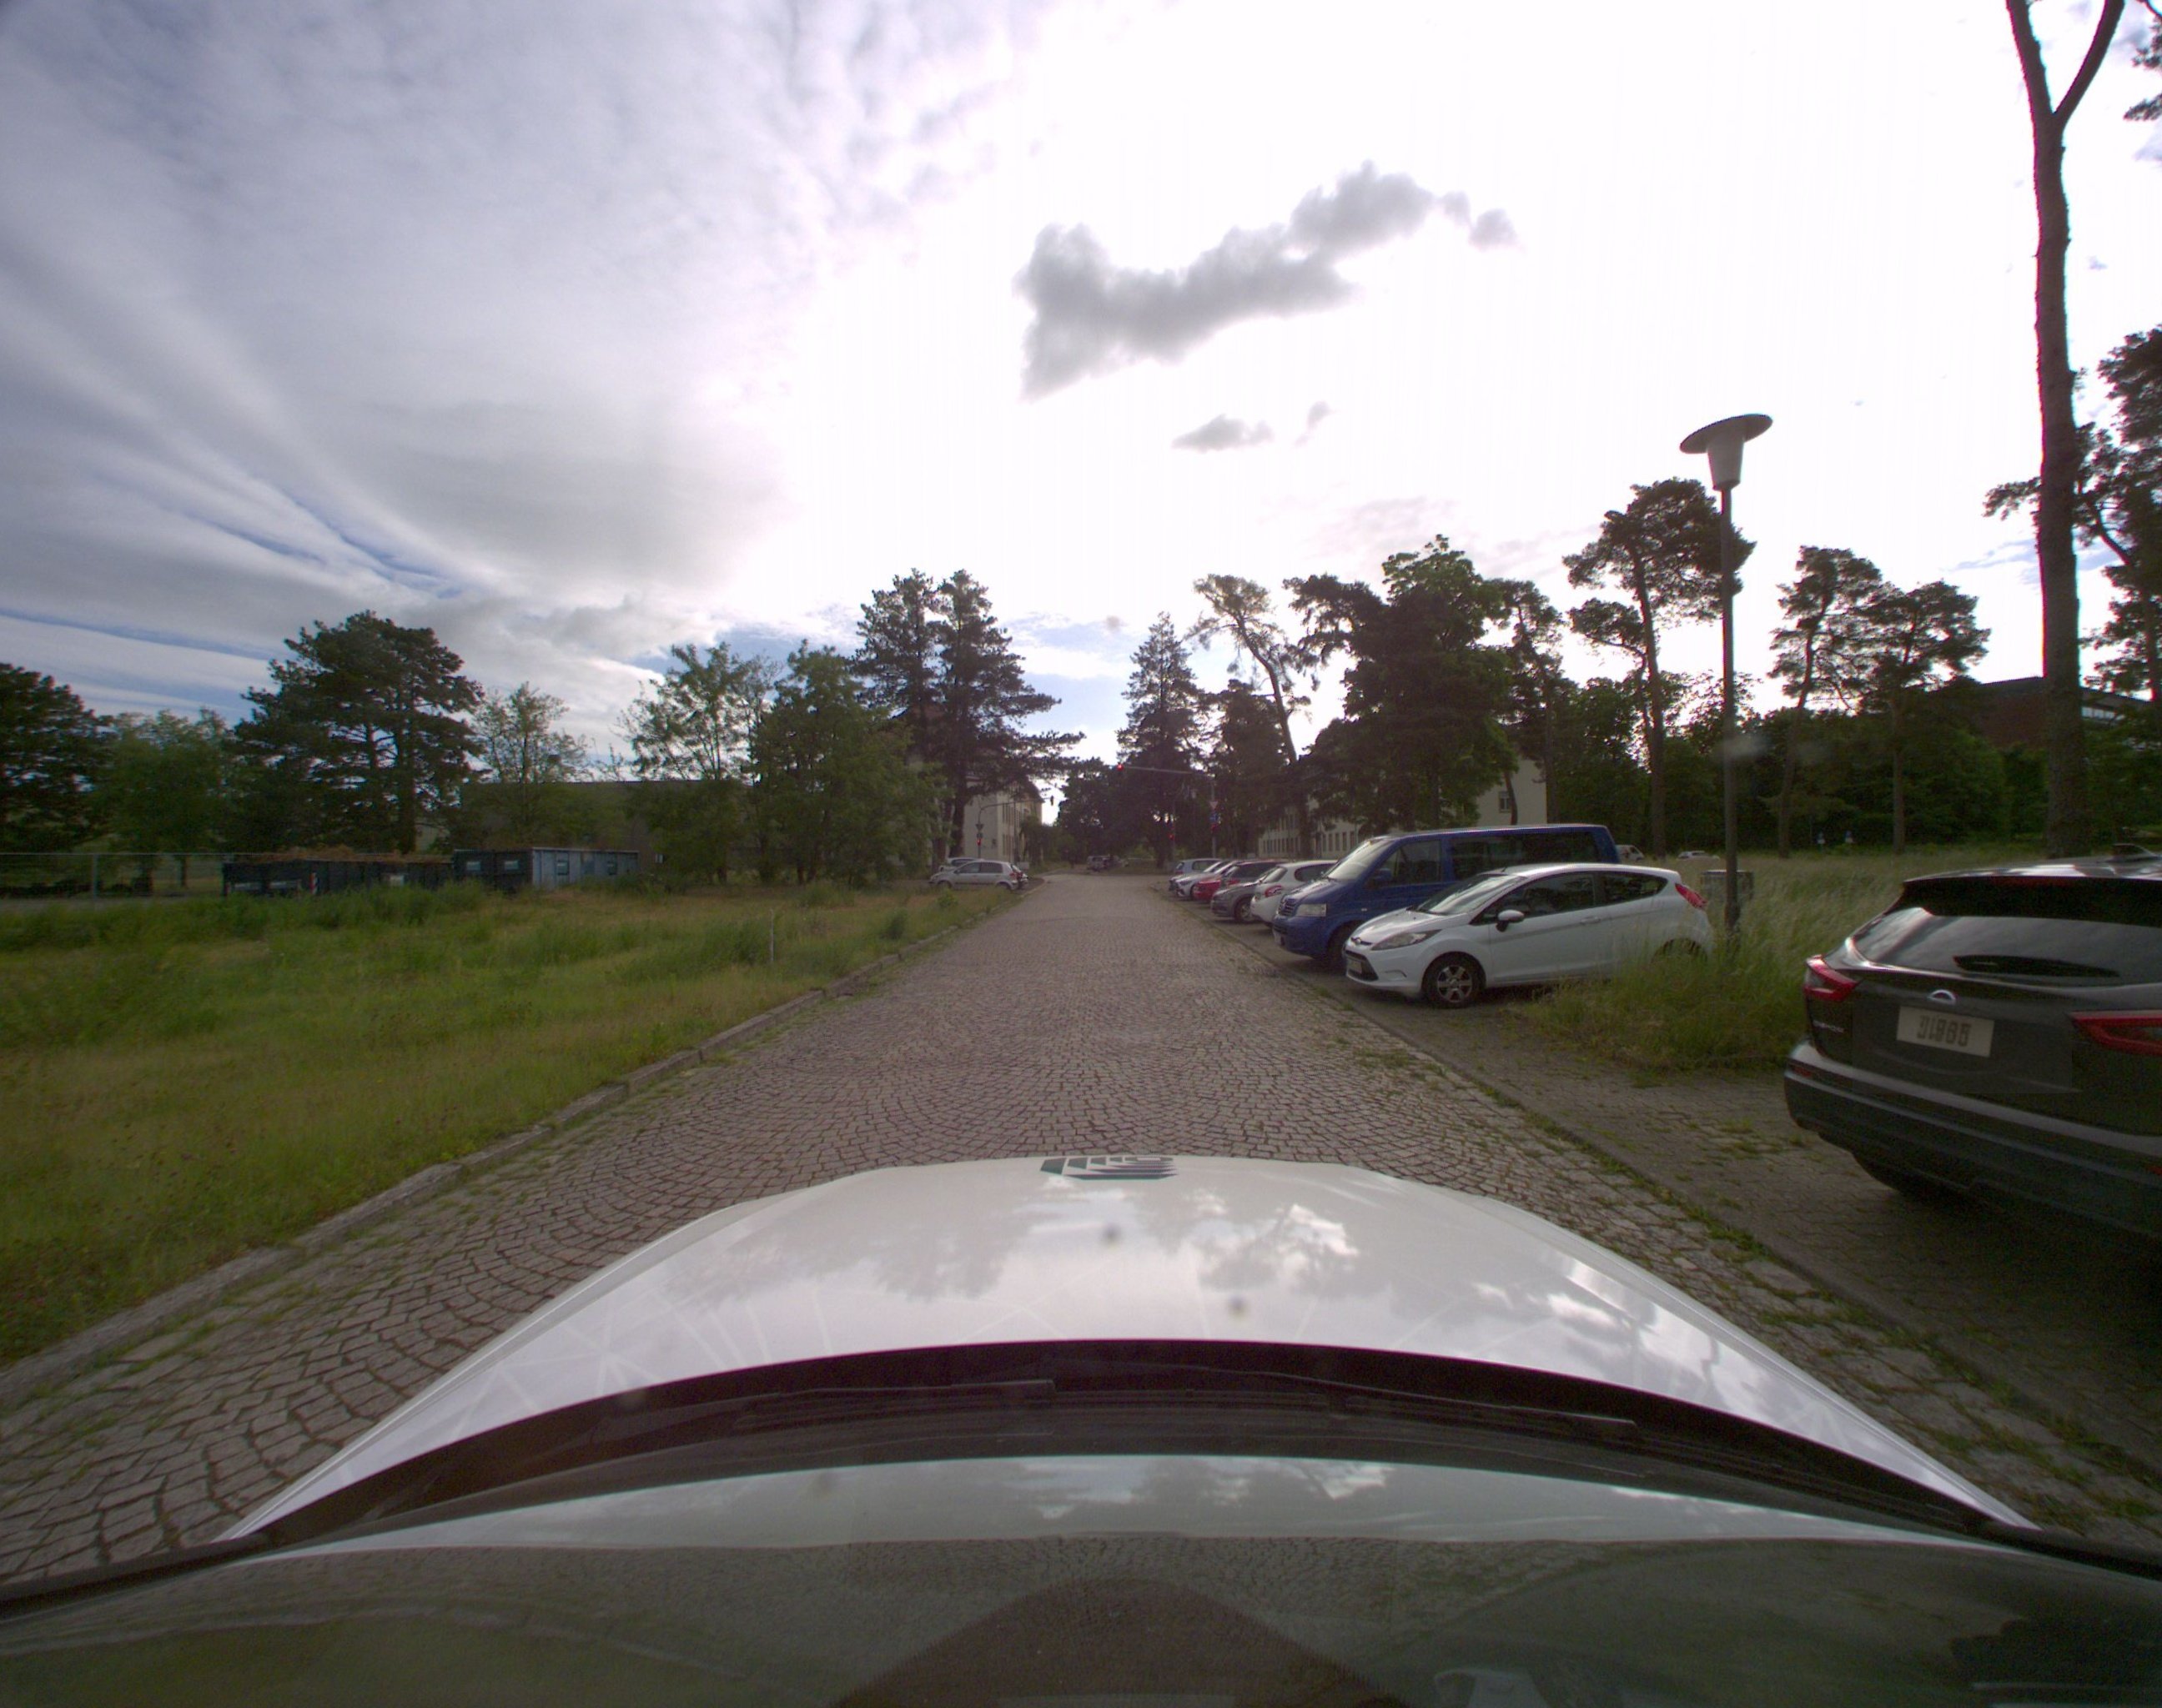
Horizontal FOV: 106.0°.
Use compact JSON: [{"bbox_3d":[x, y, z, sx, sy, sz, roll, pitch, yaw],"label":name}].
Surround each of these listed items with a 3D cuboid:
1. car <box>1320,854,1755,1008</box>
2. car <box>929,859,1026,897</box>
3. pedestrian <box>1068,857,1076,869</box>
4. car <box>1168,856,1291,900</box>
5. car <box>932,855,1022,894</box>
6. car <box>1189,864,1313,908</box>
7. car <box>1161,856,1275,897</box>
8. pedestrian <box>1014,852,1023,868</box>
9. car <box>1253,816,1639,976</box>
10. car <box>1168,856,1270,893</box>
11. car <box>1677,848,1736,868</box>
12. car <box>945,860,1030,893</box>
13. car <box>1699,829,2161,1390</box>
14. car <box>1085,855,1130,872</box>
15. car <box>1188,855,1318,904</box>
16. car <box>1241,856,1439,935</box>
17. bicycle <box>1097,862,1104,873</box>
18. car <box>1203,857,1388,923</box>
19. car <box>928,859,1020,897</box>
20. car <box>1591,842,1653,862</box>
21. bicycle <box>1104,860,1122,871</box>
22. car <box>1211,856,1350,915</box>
[{"bbox_3d":[5.085,0.805,9.438,4.087,1.479,1.720,-2,0,-2],"label":"car"},{"bbox_3d":[-4.714,1.079,37.452,4.291,1.554,1.809,-2,0,-5],"label":"car"},{"bbox_3d":[-1.414,1.485,132.633,1.237,1.959,1.119,1,-1,-4],"label":"pedestrian"},{"bbox_3d":[5.481,0.863,30.394,4.180,1.437,1.751,-2,0,-7],"label":"car"},{"bbox_3d":[-5.094,0.984,40.261,4.290,1.732,1.650,-2,0,-5],"label":"car"},{"bbox_3d":[5.302,0.987,25.689,3.573,1.223,1.629,-2,0,2],"label":"car"},{"bbox_3d":[5.555,0.891,33.161,4.229,1.479,1.704,-2,0,-10],"label":"car"},{"bbox_3d":[-7.695,0.787,100.444,1.070,1.959,1.121,1,-1,1],"label":"pedestrian"},{"bbox_3d":[5.153,0.563,11.985,4.782,2.004,1.965,-2,0,-1],"label":"car"},{"bbox_3d":[6.008,0.879,35.711,4.128,1.463,1.631,-2,0,-5],"label":"car"},{"bbox_3d":[59.646,0.410,77.680,4.116,1.804,1.901,0,-1,3],"label":"car"},{"bbox_3d":[-4.853,1.164,42.712,4.291,1.554,1.809,-2,0,-5],"label":"car"},{"bbox_3d":[5.163,0.679,3.081,4.192,1.595,1.952,-2,0,-2],"label":"car"},{"bbox_3d":[3.306,1.188,102.659,5.379,2.101,2.170,-1,0,-12],"label":"car"},{"bbox_3d":[5.844,0.851,28.029,4.093,1.476,1.684,-2,0,-1],"label":"car"},{"bbox_3d":[5.393,0.832,17.291,3.641,1.479,1.766,-2,0,0],"label":"car"},{"bbox_3d":[2.001,1.377,83.225,0.660,1.171,1.888,1,-1,1],"label":"bicycle"},{"bbox_3d":[5.214,0.858,20.197,4.115,1.447,1.766,-2,0,1],"label":"car"},{"bbox_3d":[-4.536,1.009,34.854,3.711,1.481,1.672,1,0,-2],"label":"car"},{"bbox_3d":[58.690,-0.196,88.427,5.280,2.019,2.106,1,-1,1],"label":"car"},{"bbox_3d":[3.449,1.286,87.850,1.878,1.171,0.664,1,-1,-5],"label":"bicycle"},{"bbox_3d":[5.571,0.854,23.062,3.493,1.487,1.743,-2,0,0],"label":"car"}]
